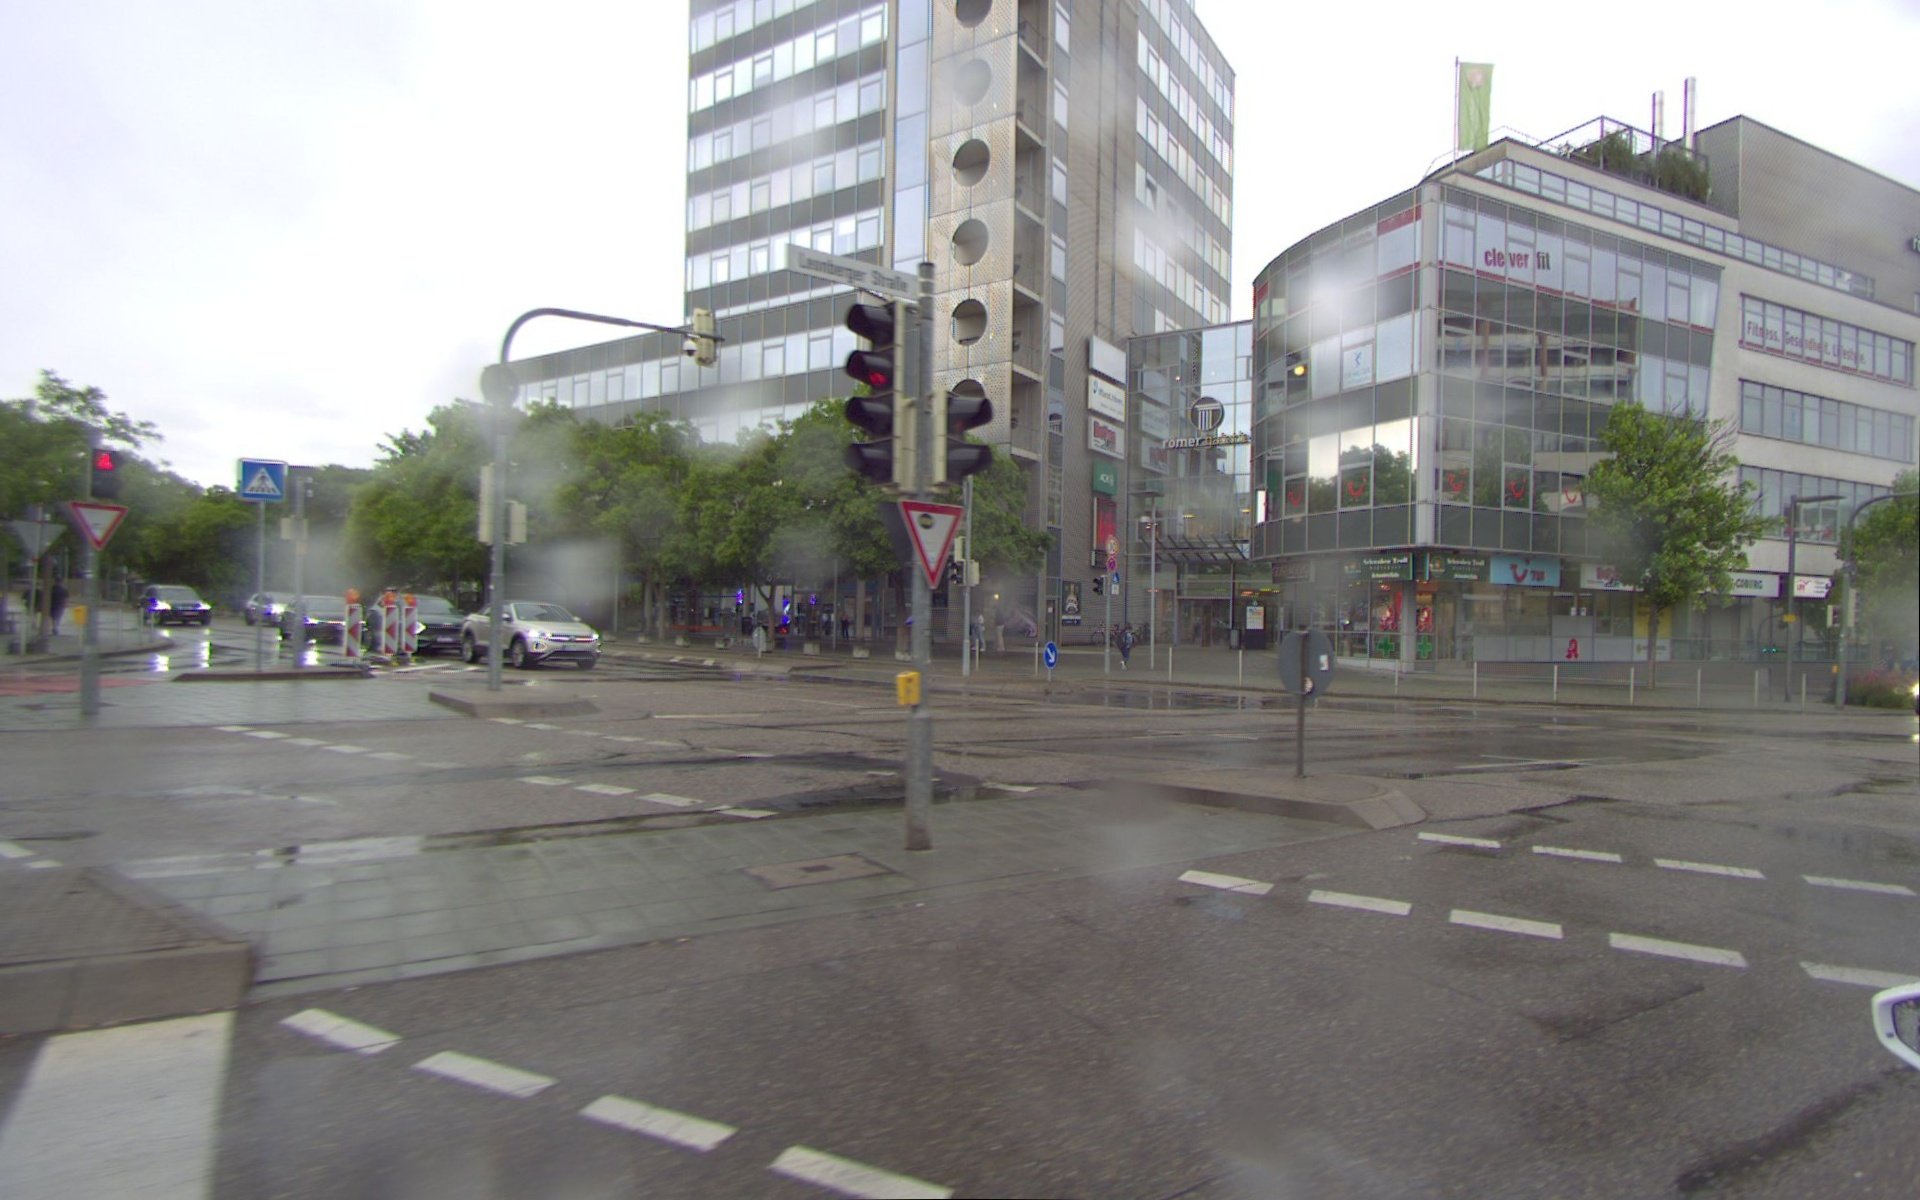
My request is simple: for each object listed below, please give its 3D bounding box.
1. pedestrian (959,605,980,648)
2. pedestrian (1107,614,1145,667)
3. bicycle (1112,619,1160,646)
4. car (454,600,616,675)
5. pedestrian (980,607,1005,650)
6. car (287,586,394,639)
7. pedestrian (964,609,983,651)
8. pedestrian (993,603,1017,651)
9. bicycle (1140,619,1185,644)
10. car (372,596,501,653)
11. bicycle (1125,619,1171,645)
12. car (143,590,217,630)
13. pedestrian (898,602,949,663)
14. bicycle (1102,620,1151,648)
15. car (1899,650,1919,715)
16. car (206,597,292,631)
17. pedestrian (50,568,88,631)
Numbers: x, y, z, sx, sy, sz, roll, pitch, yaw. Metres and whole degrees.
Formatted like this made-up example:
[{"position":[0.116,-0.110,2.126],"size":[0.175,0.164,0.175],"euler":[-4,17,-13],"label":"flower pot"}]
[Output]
[{"position":[0.423,1.171,44.245],"size":[0.738,1.893,0.834],"euler":[1,-1,10],"label":"pedestrian"},{"position":[5.880,1.427,35.566],"size":[1.010,1.843,0.843],"euler":[2,-1,-25],"label":"pedestrian"},{"position":[8.634,1.612,49.401],"size":[2.241,1.263,0.675],"euler":[1,-1,33],"label":"bicycle"},{"position":[-10.030,0.845,23.590],"size":[4.144,1.616,1.861],"euler":[0,-2,41],"label":"car"},{"position":[1.442,1.268,44.728],"size":[0.820,1.893,0.750],"euler":[0,-1,38],"label":"pedestrian"},{"position":[-20.376,0.393,32.992],"size":[3.940,1.616,1.861],"euler":[1,0,41],"label":"car"},{"position":[0.629,1.349,45.943],"size":[0.738,1.893,0.834],"euler":[1,-1,7],"label":"pedestrian"},{"position":[1.978,1.175,44.089],"size":[0.759,2.040,0.705],"euler":[1,0,-43],"label":"pedestrian"},{"position":[10.656,1.632,52.929],"size":[2.241,1.263,0.675],"euler":[1,-1,33],"label":"bicycle"},{"position":[-14.785,0.675,28.289],"size":[3.998,1.439,1.861],"euler":[1,-1,41],"label":"car"},{"position":[9.721,1.638,51.927],"size":[2.241,1.263,0.675],"euler":[1,-1,33],"label":"bicycle"},{"position":[-33.991,0.416,43.737],"size":[3.939,1.616,1.708],"euler":[1,0,40],"label":"car"},{"position":[-1.248,1.095,34.502],"size":[1.305,2.040,1.163],"euler":[1,0,32],"label":"pedestrian"},{"position":[8.075,1.651,48.743],"size":[2.241,1.263,0.675],"euler":[1,-1,33],"label":"bicycle"},{"position":[27.036,2.184,26.418],"size":[4.840,1.653,1.913],"euler":[2,-1,-27],"label":"car"},{"position":[-31.628,0.626,44.656],"size":[3.990,1.439,1.768],"euler":[0,-2,34],"label":"car"},{"position":[-27.748,0.002,31.282],"size":[0.801,1.919,0.712],"euler":[1,-1,-38],"label":"pedestrian"}]
